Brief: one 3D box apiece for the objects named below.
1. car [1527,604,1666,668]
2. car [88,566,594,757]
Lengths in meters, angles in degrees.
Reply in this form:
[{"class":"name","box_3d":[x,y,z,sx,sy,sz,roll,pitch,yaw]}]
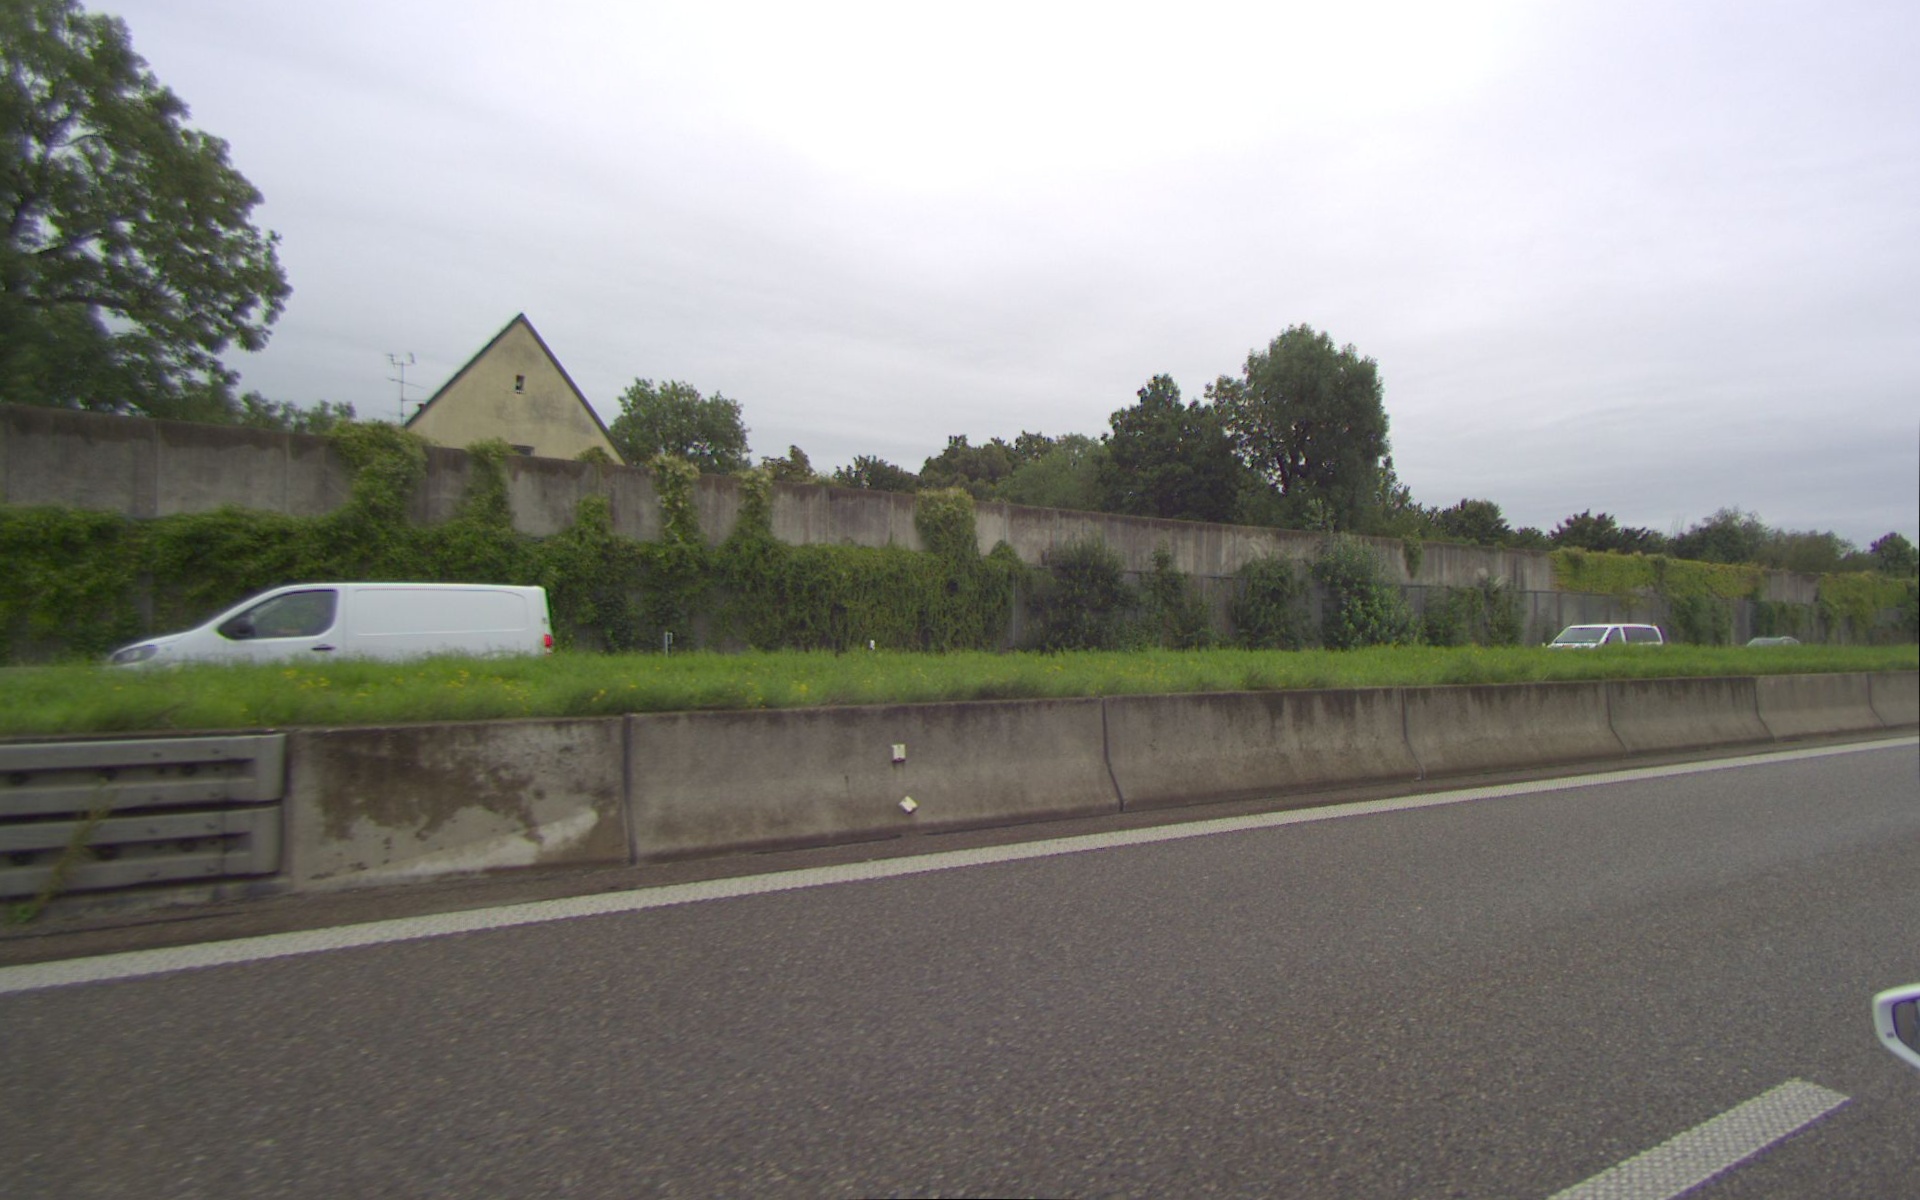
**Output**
[{"class":"car","box_3d":[22.109,1.235,34.834,5.168,2.040,1.983,2,0,-31]},{"class":"car","box_3d":[-7.617,0.709,12.954,5.135,2.040,2.069,1,0,-31]}]
